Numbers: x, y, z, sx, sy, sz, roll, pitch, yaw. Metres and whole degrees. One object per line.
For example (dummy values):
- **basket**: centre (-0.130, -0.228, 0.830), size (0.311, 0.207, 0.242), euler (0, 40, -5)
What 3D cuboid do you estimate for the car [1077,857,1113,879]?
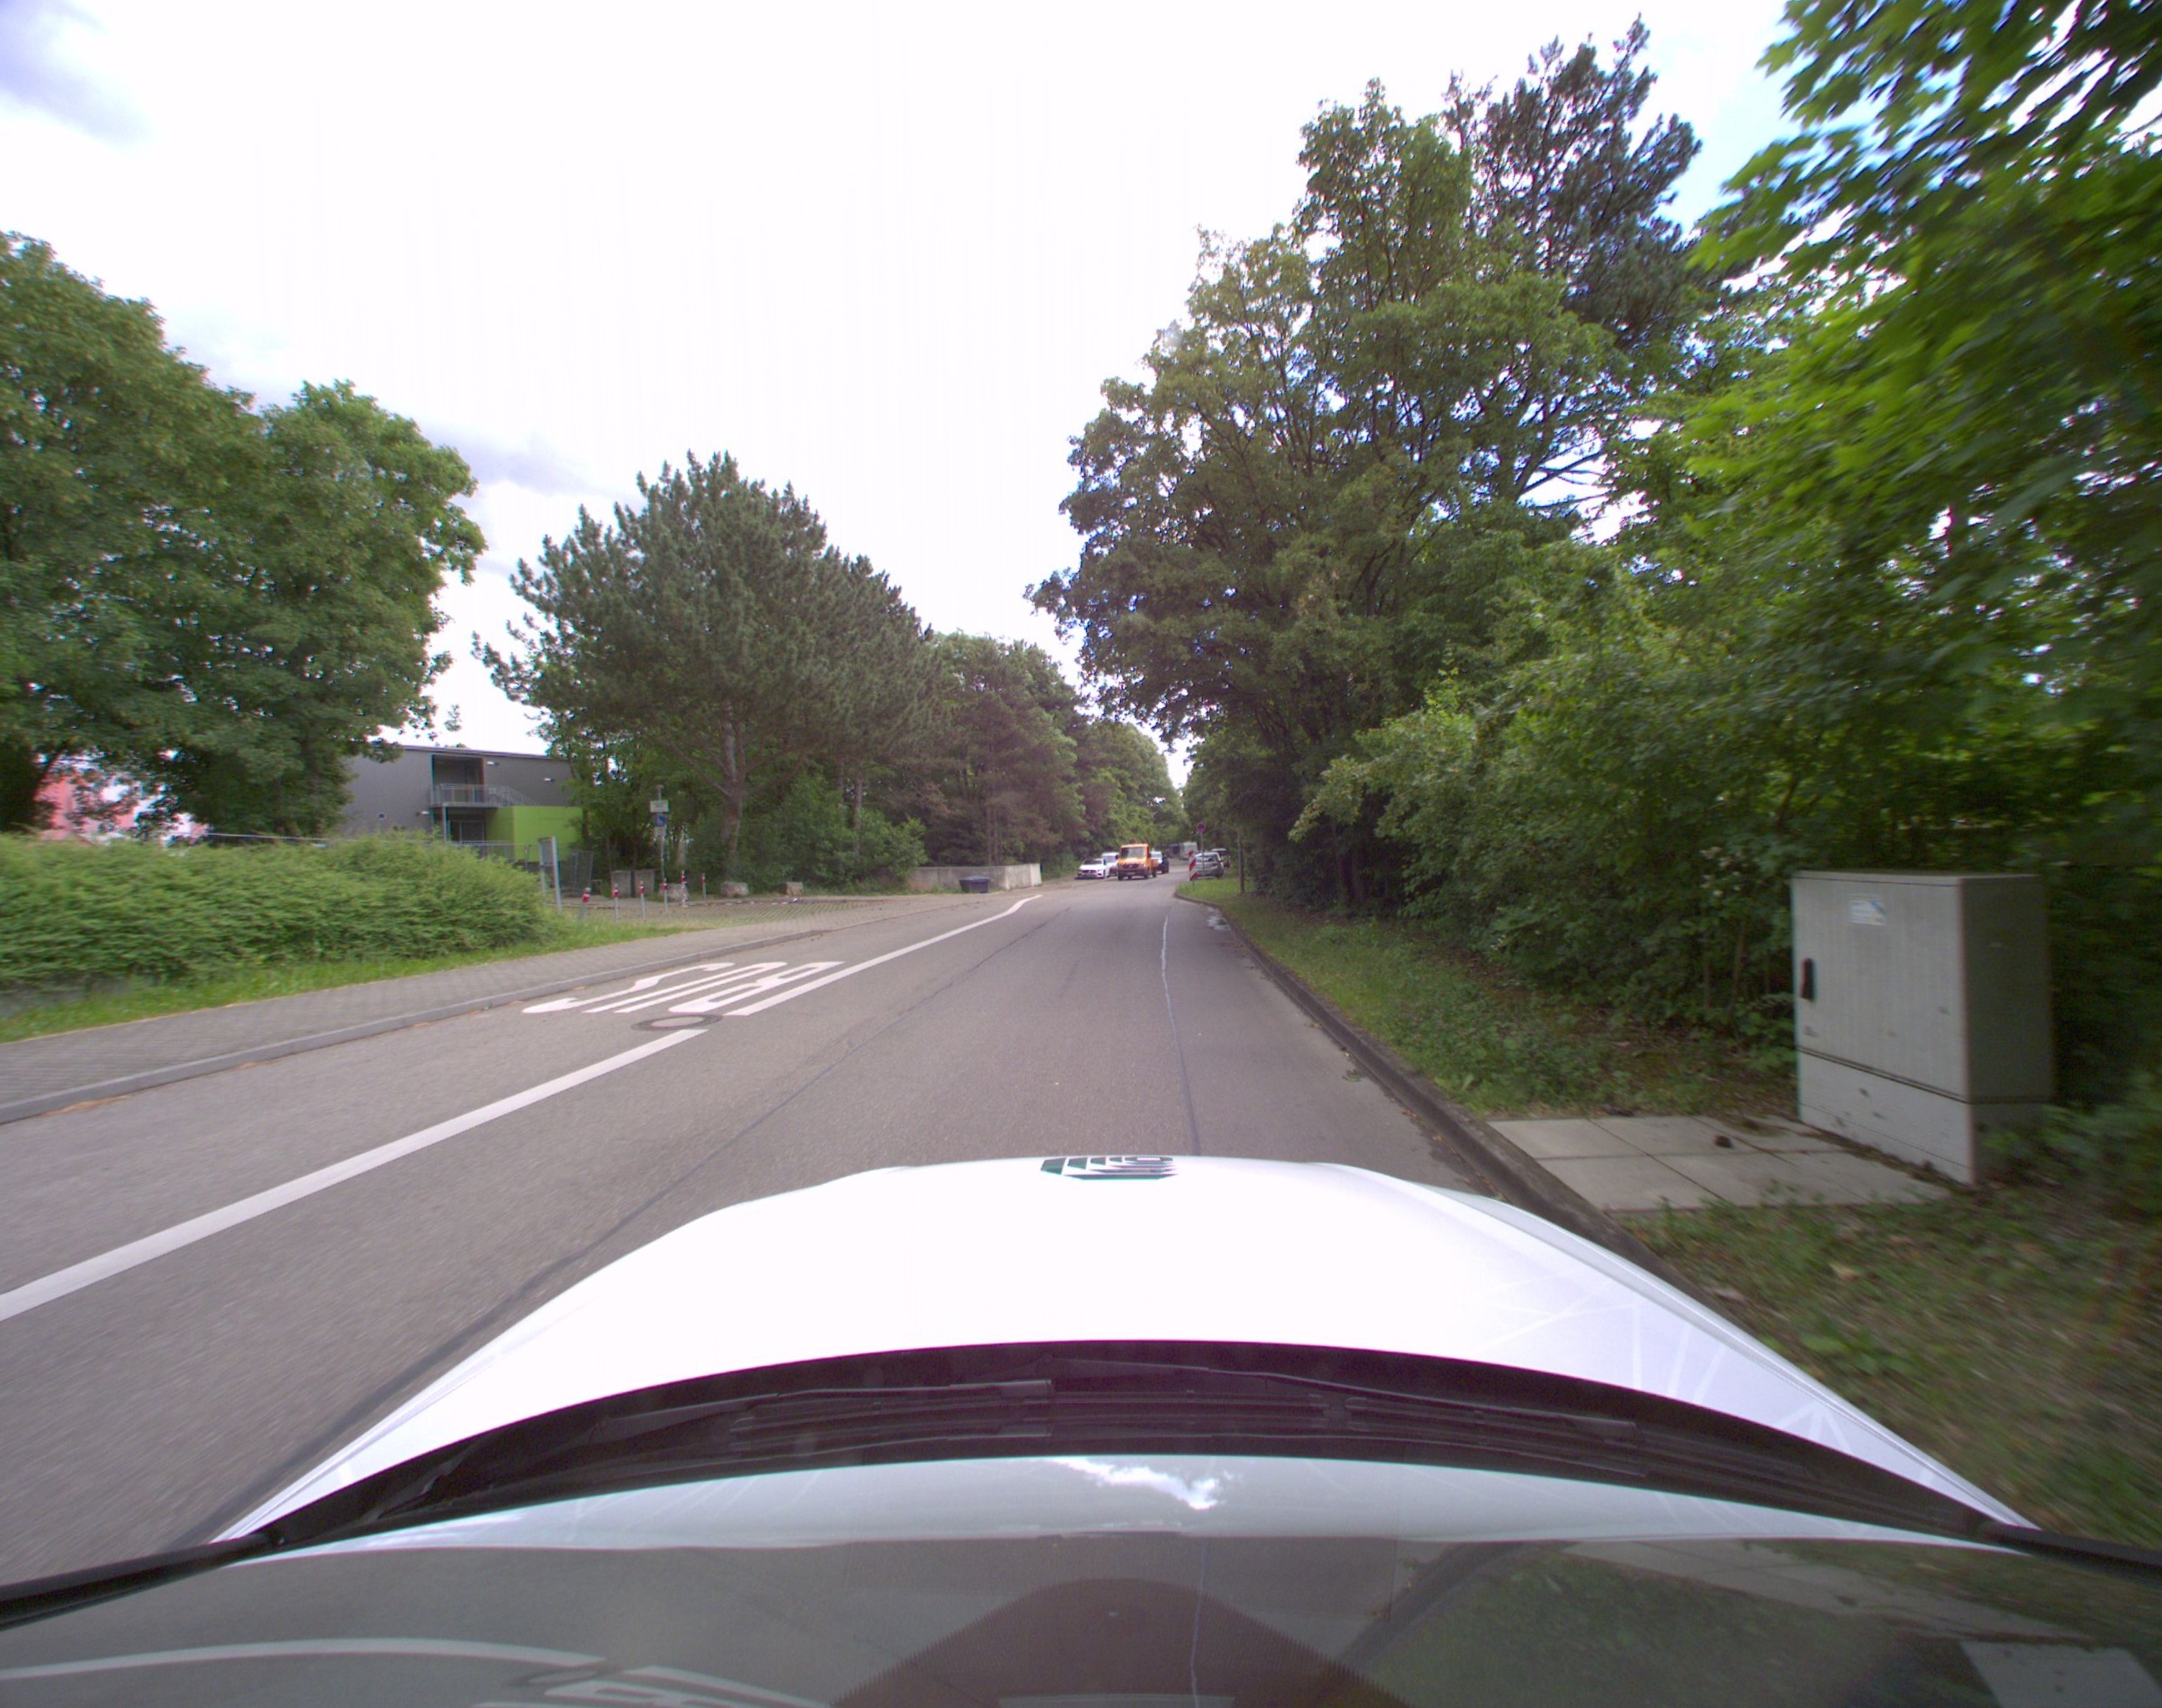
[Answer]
- **car**: centre (1.029, 0.964, 56.608), size (1.794, 1.403, 4.384), euler (-1, 0, 10)

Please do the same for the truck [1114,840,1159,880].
- **truck**: centre (3.742, 0.357, 53.929), size (2.308, 2.470, 6.037), euler (-1, 0, 10)

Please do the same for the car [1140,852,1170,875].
- **car**: centre (6.096, 0.721, 66.487), size (1.981, 1.735, 5.351), euler (-2, -1, 9)

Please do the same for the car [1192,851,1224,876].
- **car**: centre (8.511, 0.620, 54.122), size (1.874, 1.507, 5.191), euler (-3, 0, 10)

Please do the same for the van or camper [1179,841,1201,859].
- **van or camper**: centre (18.298, -0.652, 137.092), size (2.475, 2.876, 6.885), euler (-3, 0, -1)

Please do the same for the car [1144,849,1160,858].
- **car**: centre (14.492, -0.064, 166.803), size (2.038, 1.803, 4.062), euler (-3, 1, -15)

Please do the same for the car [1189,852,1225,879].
- **car**: centre (7.276, 0.643, 46.758), size (1.781, 1.411, 4.072), euler (-3, -1, 12)

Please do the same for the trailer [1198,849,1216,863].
- **trailer**: centre (18.192, 0.268, 117.465), size (1.971, 1.811, 5.153), euler (-3, 1, 3)

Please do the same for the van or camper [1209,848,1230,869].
- **van or camper**: centre (12.817, 0.437, 75.125), size (1.791, 1.838, 4.332), euler (-2, -2, 10)

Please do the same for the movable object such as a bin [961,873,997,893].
- **movable object such as a bin**: centre (-4.145, 1.168, 33.025), size (1.150, 0.760, 1.040), euler (0, -2, -27)

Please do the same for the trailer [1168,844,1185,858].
- **trailer**: centre (17.310, -0.509, 148.133), size (1.993, 2.398, 3.987), euler (-3, 0, -9)

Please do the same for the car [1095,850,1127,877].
- **car**: centre (2.368, 0.713, 63.262), size (1.709, 1.921, 4.119), euler (-1, 1, 12)

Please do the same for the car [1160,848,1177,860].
- **car**: centre (16.408, -0.073, 153.536), size (1.994, 2.025, 3.987), euler (-6, 2, -10)
